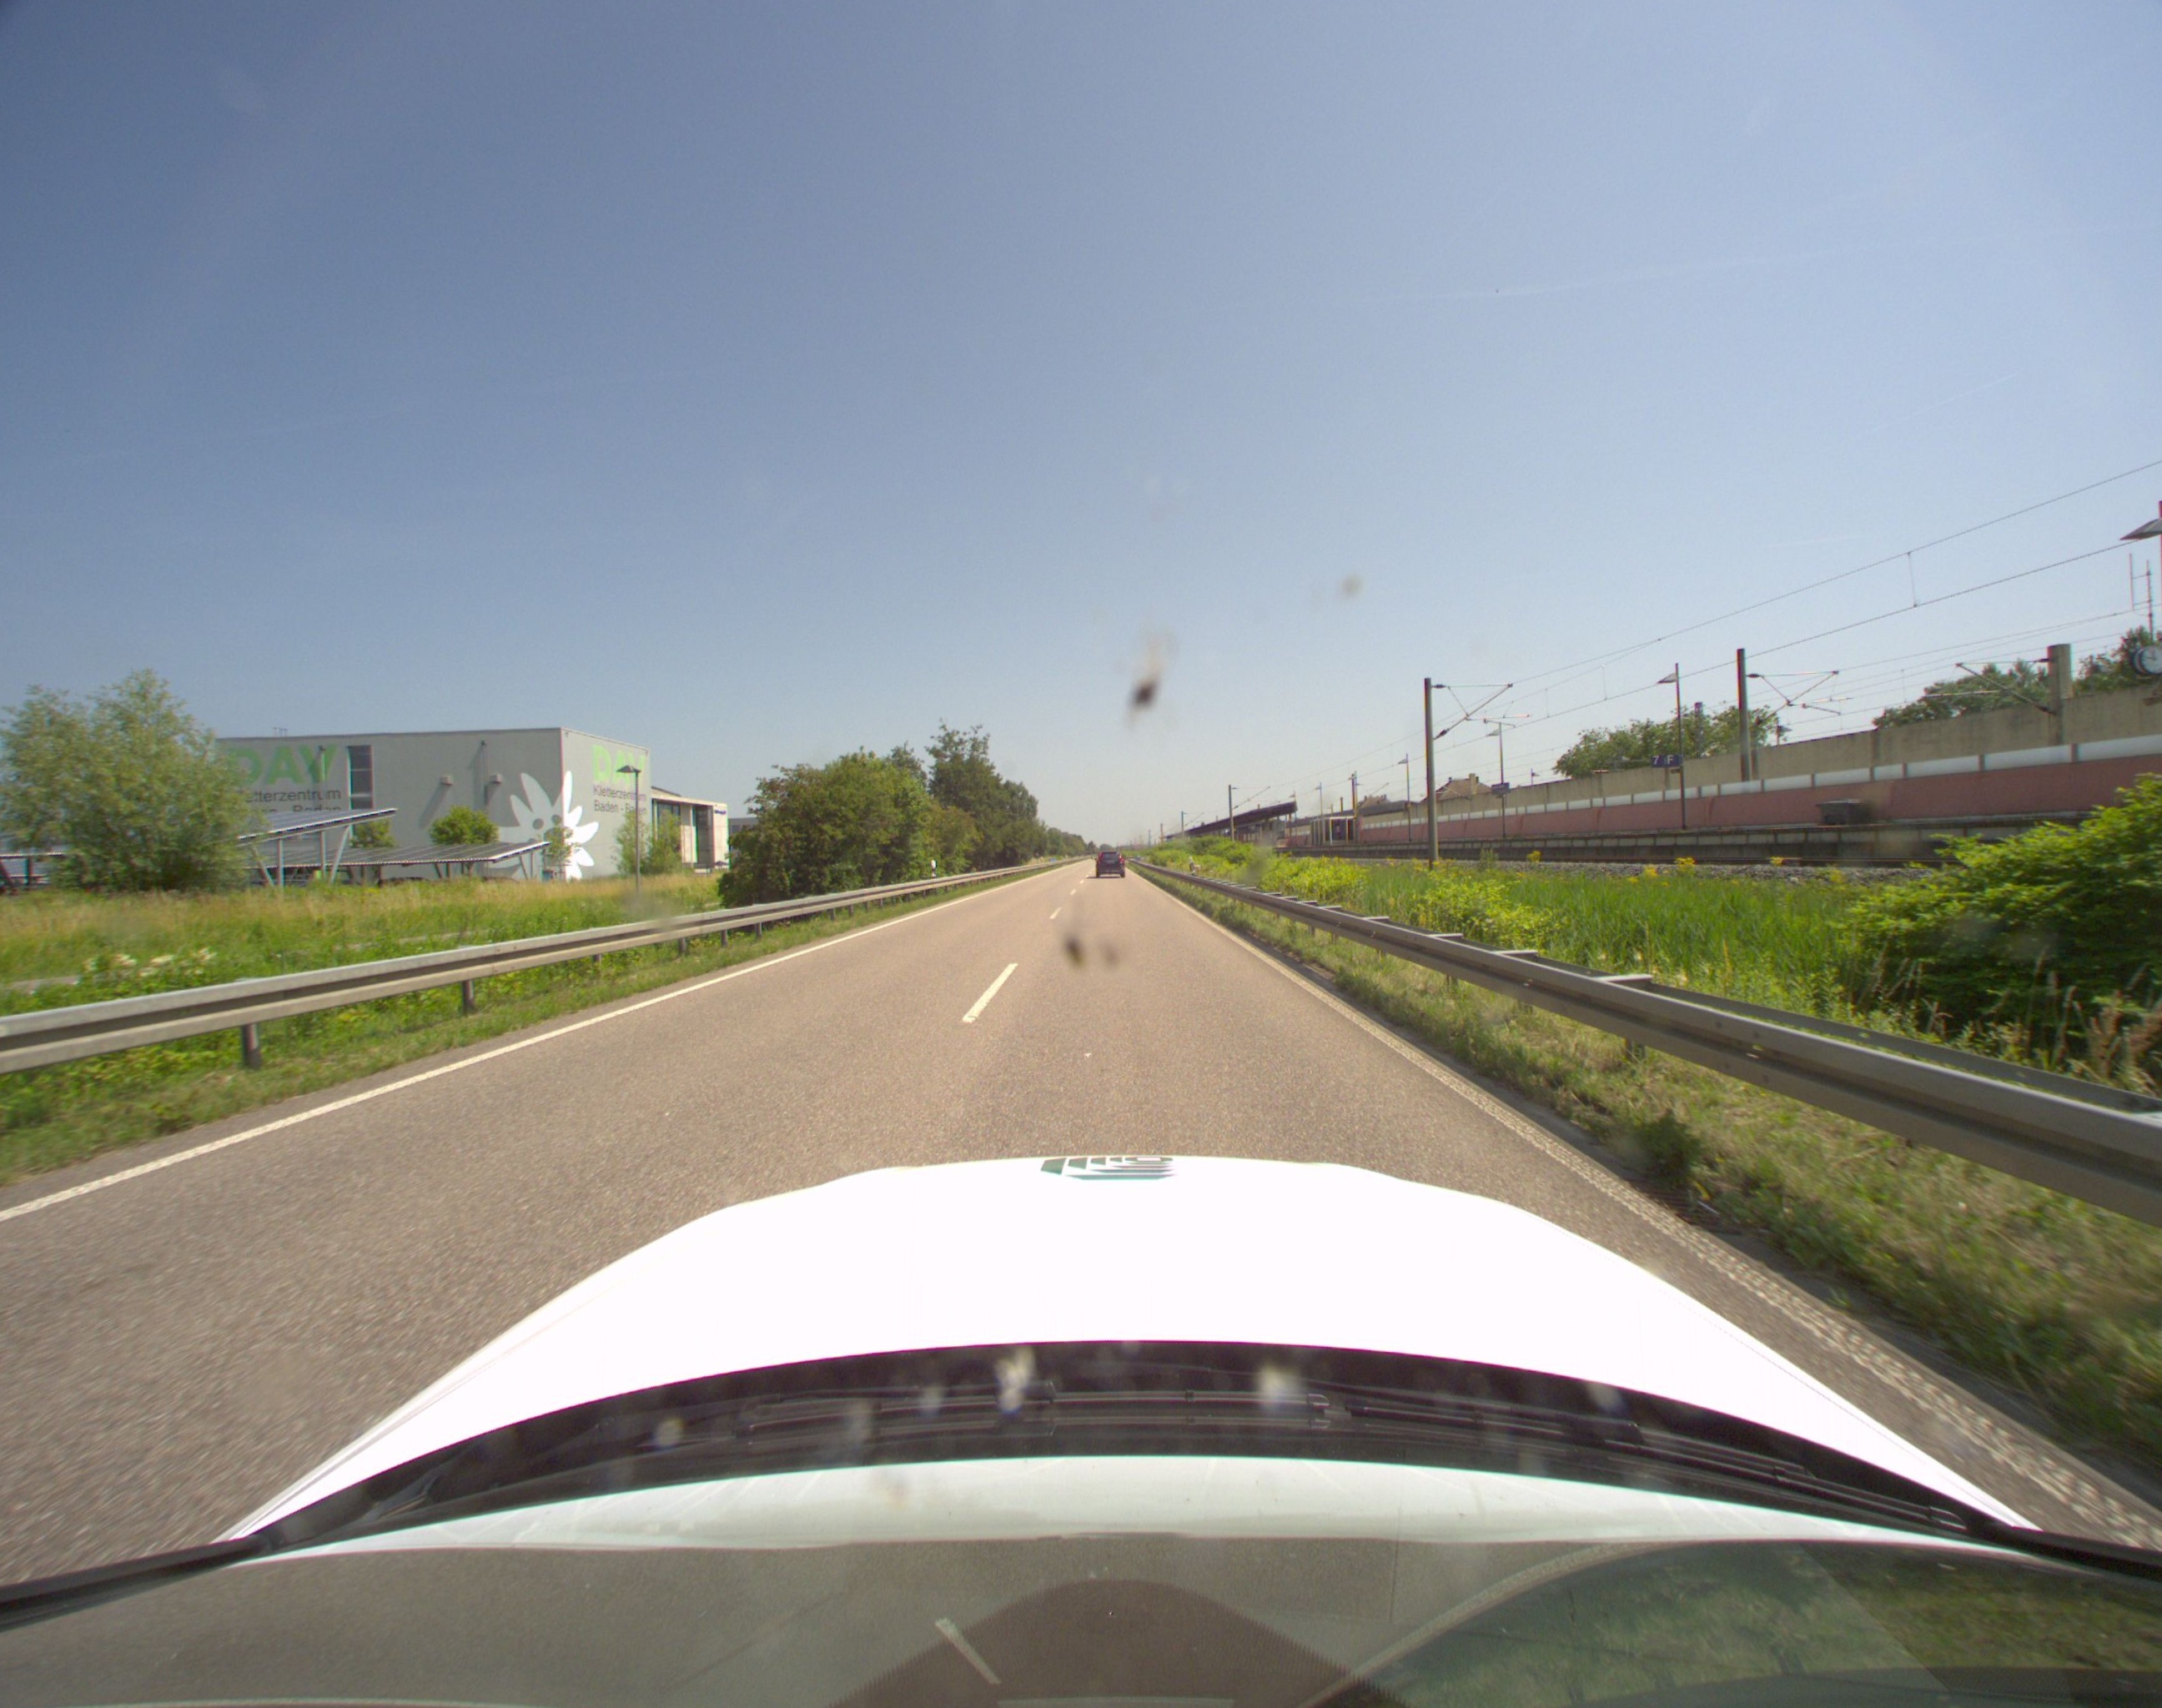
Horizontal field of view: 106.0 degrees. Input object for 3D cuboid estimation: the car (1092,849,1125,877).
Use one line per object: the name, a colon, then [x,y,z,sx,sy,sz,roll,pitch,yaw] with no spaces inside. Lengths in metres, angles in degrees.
car: [1.744,0.579,53.002,1.987,1.700,3.999,-1,0,-1]

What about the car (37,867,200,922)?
car: [-39.228,1.595,33.360,1.990,2.013,3.994,-2,0,-4]
